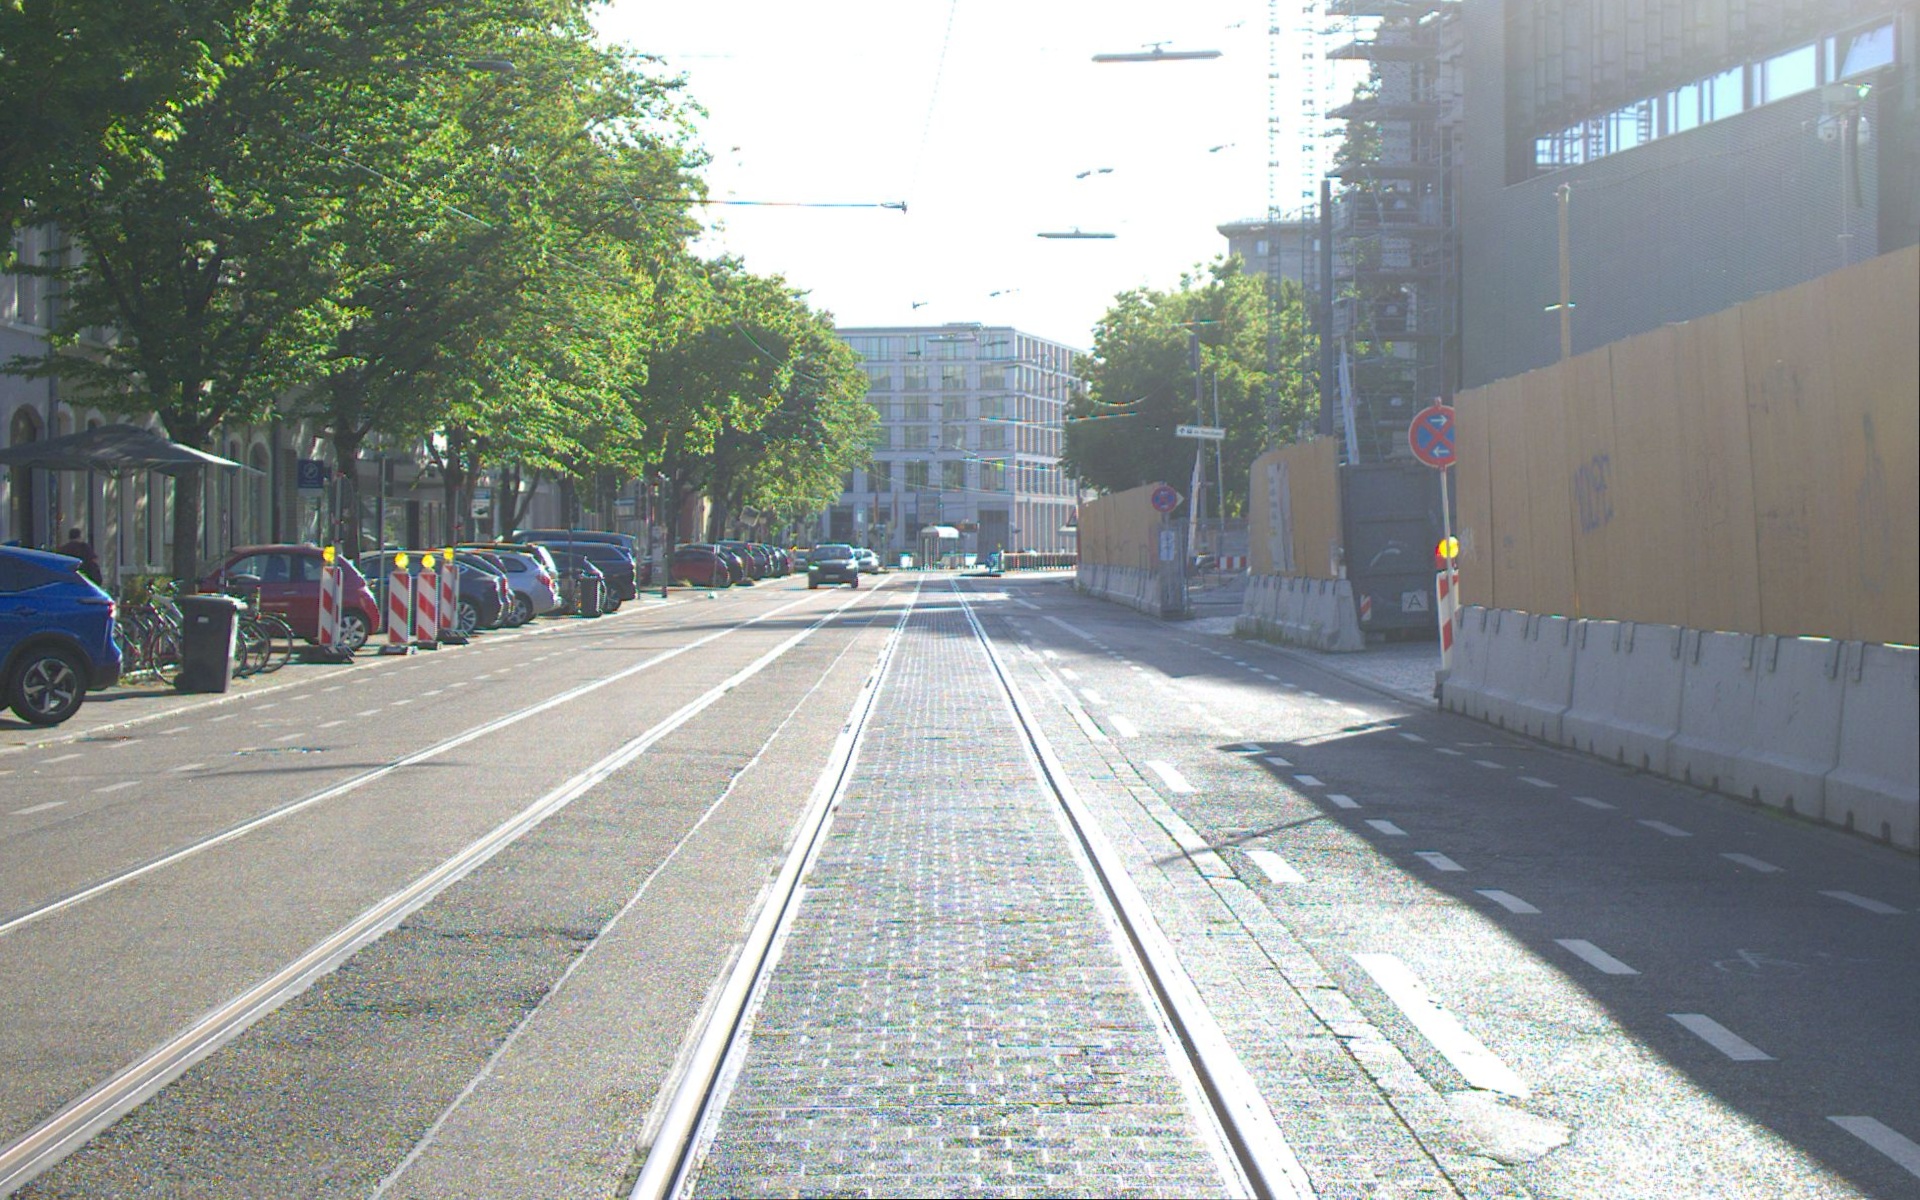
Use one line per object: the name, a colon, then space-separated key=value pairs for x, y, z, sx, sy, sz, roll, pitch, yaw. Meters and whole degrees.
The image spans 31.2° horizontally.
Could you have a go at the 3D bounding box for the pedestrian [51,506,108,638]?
pedestrian: x=-13.493 y=-0.428 z=52.701 sx=0.731 sy=2.007 sz=0.556 roll=0 pitch=1 yaw=1

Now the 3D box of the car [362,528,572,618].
car: x=-10.235 y=-0.564 z=71.641 sx=4.103 sy=1.672 sz=1.841 roll=3 pitch=1 yaw=-2

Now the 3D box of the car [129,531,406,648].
car: x=-10.107 y=-0.153 z=50.161 sx=3.612 sy=1.548 sz=1.669 roll=1 pitch=2 yaw=-26

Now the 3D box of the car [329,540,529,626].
car: x=-10.074 y=-0.315 z=65.280 sx=3.362 sy=1.488 sz=1.613 roll=2 pitch=1 yaw=-28

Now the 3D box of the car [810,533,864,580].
car: x=-4.660 y=-1.673 z=130.458 sx=1.927 sy=1.624 sz=4.249 roll=-3 pitch=2 yaw=-1

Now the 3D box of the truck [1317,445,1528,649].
truck: x=7.129 y=-0.826 z=53.632 sx=2.520 sy=2.899 sz=5.507 roll=-2 pitch=1 yaw=1

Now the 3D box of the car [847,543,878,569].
car: x=-5.378 y=-2.430 z=189.551 sx=1.709 sy=1.431 sz=4.171 roll=0 pitch=1 yaw=-2

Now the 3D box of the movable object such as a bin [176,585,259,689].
movable object such as a bin: x=-8.090 y=0.402 z=37.495 sx=0.684 sy=1.074 sz=0.710 roll=3 pitch=1 yaw=1

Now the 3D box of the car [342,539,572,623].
car: x=-9.970 y=-0.383 z=68.180 sx=4.103 sy=1.507 sz=1.841 roll=2 pitch=1 yaw=-26

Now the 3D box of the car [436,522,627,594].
car: x=-10.311 y=-1.019 z=82.709 sx=4.234 sy=1.679 sz=1.811 roll=-1 pitch=1 yaw=-21

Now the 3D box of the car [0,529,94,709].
car: x=-9.930 y=0.190 z=30.801 sx=3.890 sy=1.603 sz=1.573 roll=-1 pitch=1 yaw=-37

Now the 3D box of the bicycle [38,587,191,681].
bicycle: x=-9.364 y=0.374 z=38.107 sx=1.599 sy=0.984 sz=0.389 roll=2 pitch=1 yaw=-10

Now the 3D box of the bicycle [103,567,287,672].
bicycle: x=-9.141 y=0.226 z=41.112 sx=2.003 sy=1.084 sz=0.567 roll=5 pitch=1 yaw=2

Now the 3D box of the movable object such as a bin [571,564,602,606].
movable object such as a bin: x=-8.415 y=-0.329 z=77.424 sx=0.575 sy=0.910 sz=0.575 roll=2 pitch=1 yaw=-16

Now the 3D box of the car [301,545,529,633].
car: x=-9.885 y=-0.196 z=62.422 sx=3.671 sy=1.465 sz=1.753 roll=2 pitch=0 yaw=-29

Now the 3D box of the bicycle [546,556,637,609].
bicycle: x=-8.380 y=-0.404 z=78.253 sx=1.965 sy=1.140 sz=0.493 roll=2 pitch=0 yaw=-18

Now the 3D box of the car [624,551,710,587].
car: x=-10.892 y=-1.153 z=127.643 sx=2.933 sy=1.327 sz=1.216 roll=-1 pitch=1 yaw=-28

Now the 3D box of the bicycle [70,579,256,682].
bicycle: x=-9.224 y=0.350 z=39.814 sx=1.968 sy=1.075 sz=0.568 roll=3 pitch=1 yaw=2
